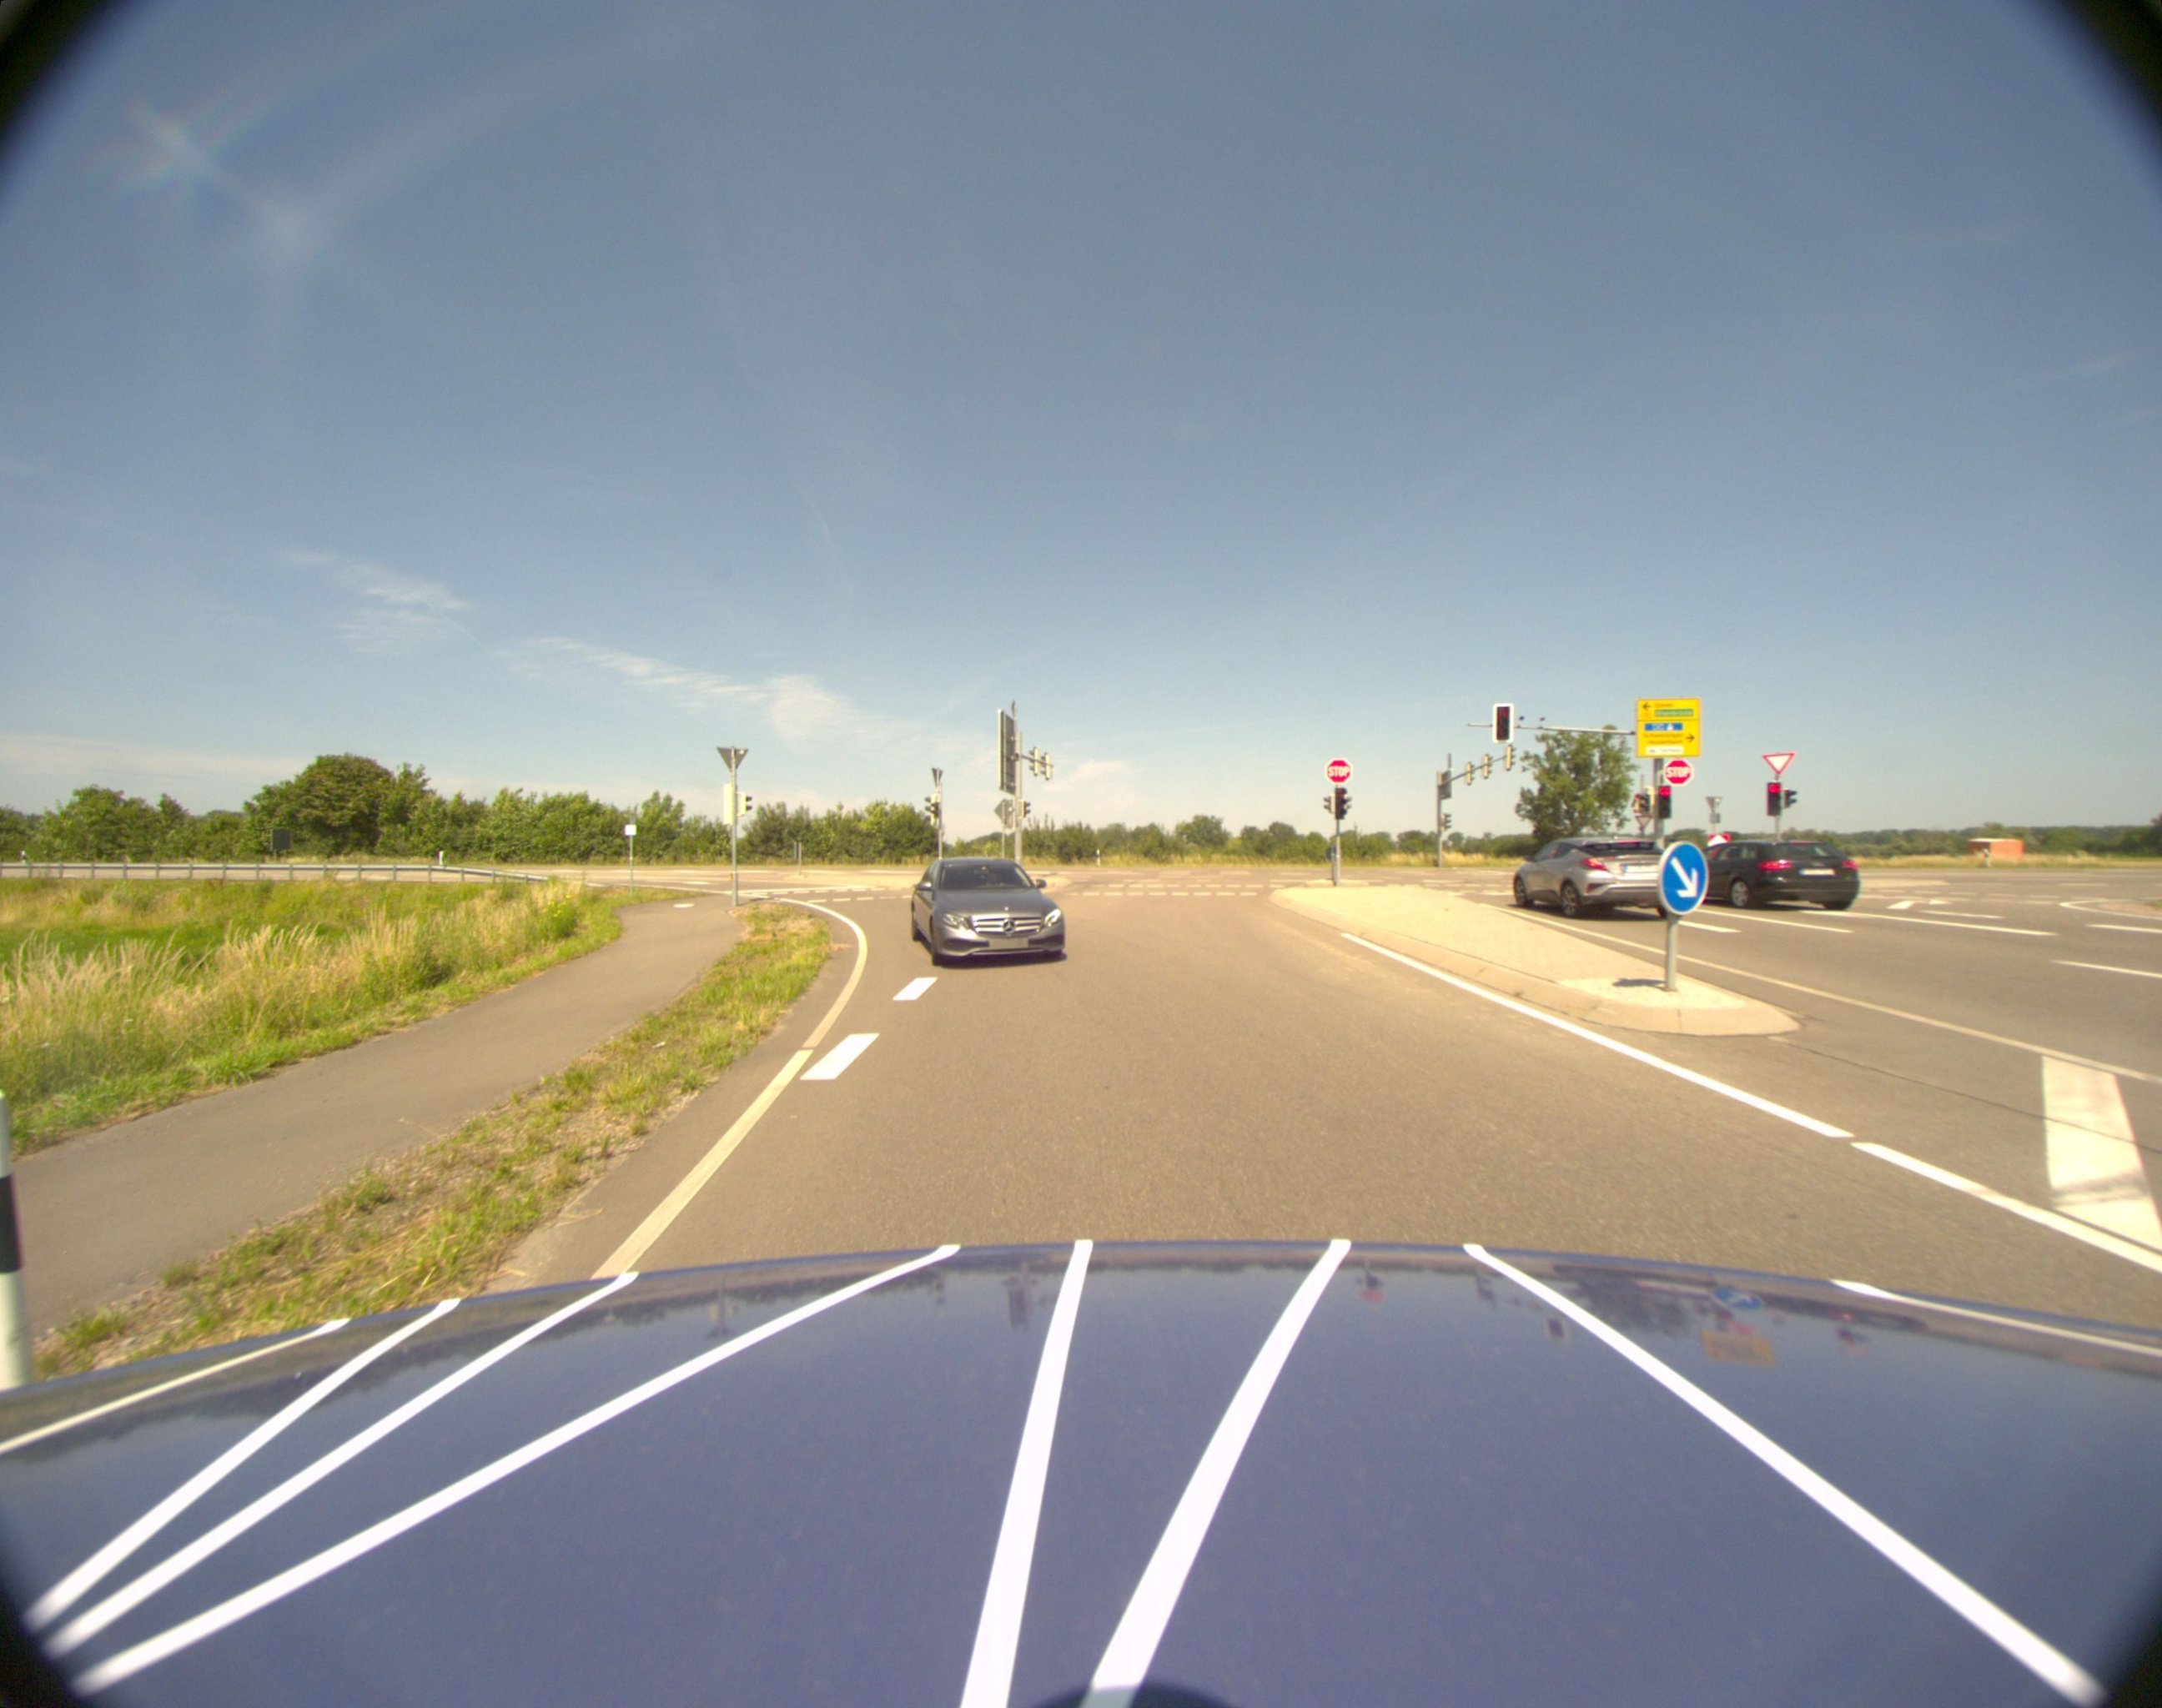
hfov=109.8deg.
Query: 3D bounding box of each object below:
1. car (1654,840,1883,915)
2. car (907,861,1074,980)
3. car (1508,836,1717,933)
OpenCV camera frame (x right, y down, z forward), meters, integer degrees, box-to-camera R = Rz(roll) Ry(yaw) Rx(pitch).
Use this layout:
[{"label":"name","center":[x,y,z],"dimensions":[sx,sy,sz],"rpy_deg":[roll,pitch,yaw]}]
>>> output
[{"label":"car","center":[14.354,0.457,16.239],"dimensions":[1.773,1.360,4.279],"rpy_deg":[-1,0,13]},{"label":"car","center":[-1.661,0.874,12.220],"dimensions":[1.896,1.439,4.519],"rpy_deg":[-2,0,-16]},{"label":"car","center":[10.135,0.464,14.960],"dimensions":[1.868,1.535,4.554],"rpy_deg":[-1,2,14]}]
